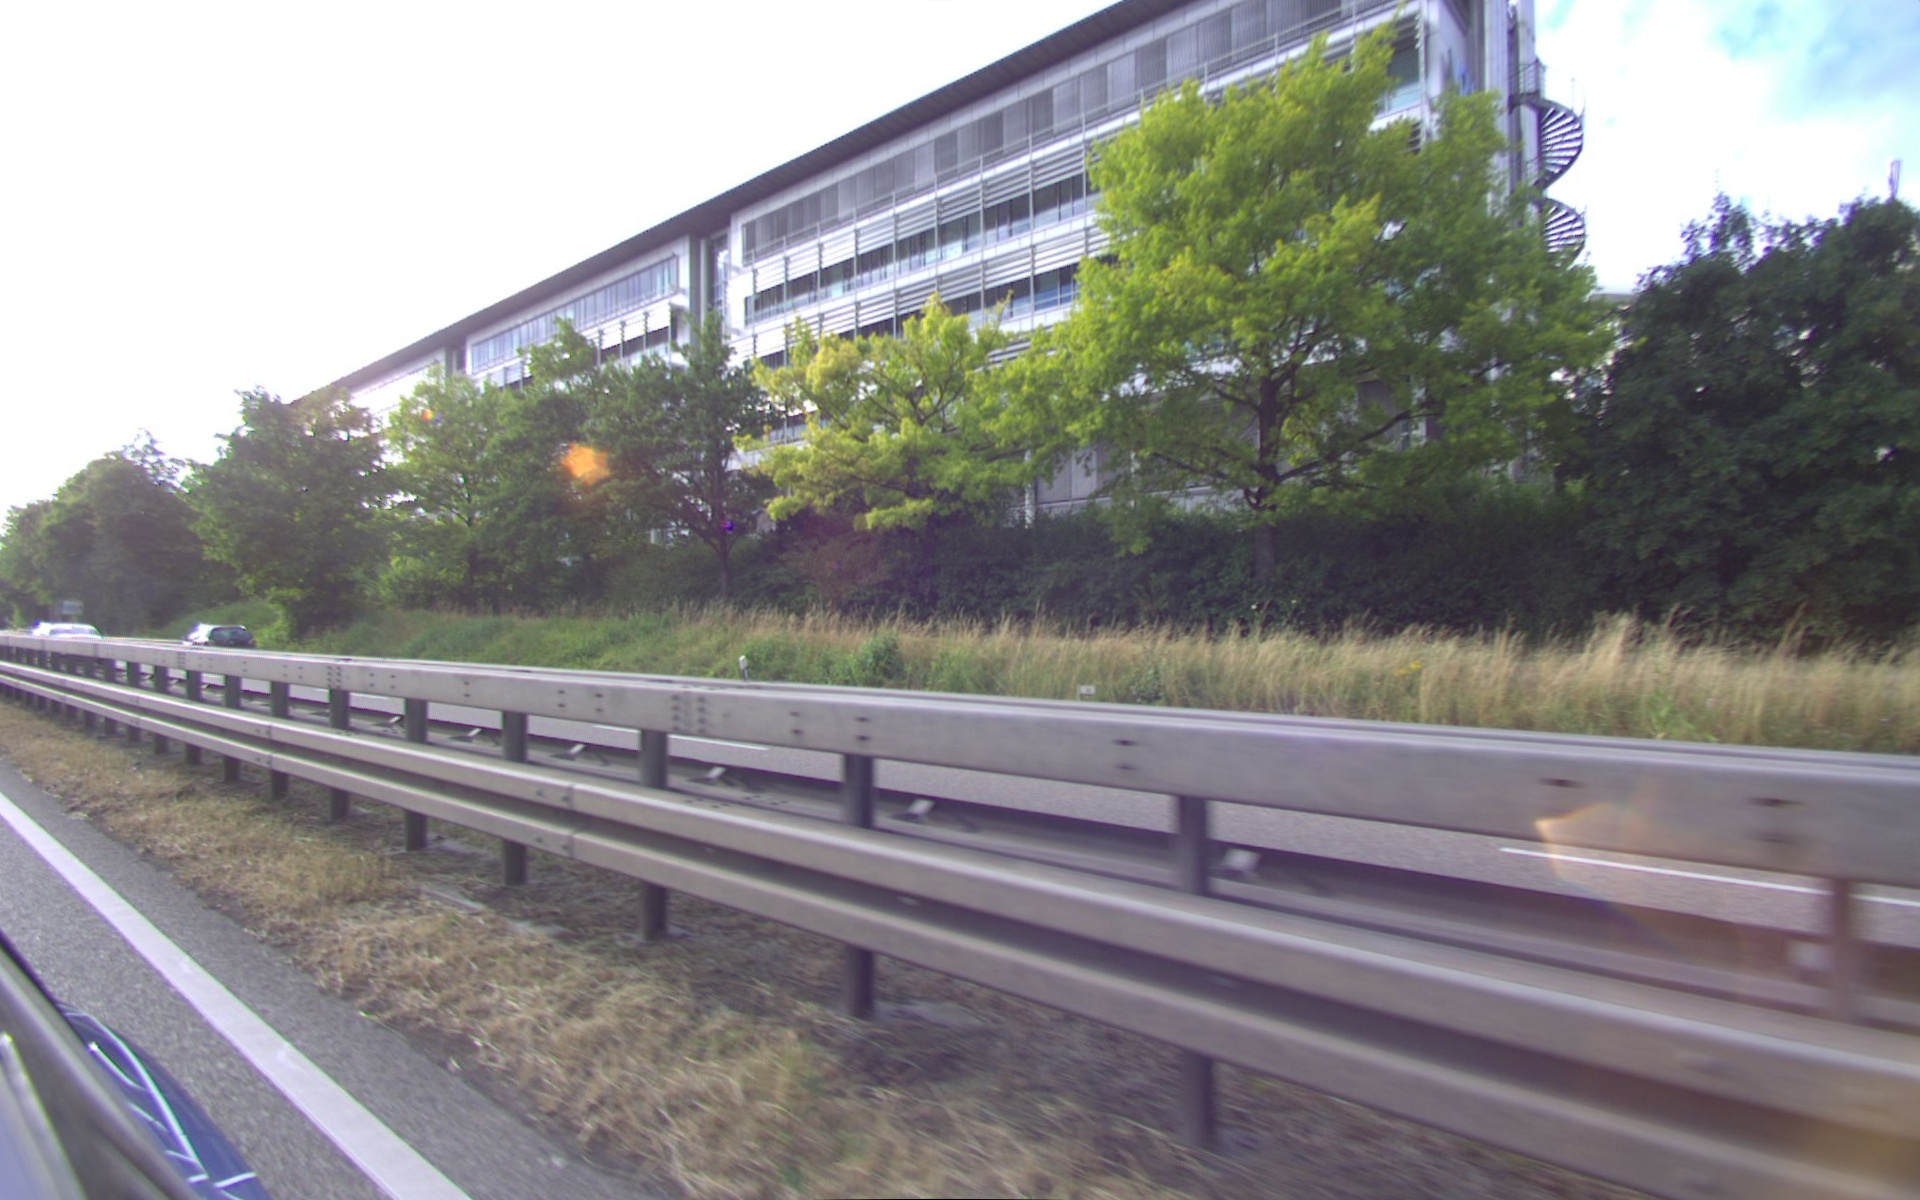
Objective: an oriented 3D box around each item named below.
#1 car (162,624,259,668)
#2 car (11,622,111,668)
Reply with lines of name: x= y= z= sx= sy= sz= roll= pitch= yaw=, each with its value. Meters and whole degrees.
car: x=-25.758 y=1.562 z=34.725 sx=4.564 sy=1.433 sz=1.738 roll=-2 pitch=-3 yaw=42
car: x=-29.286 y=1.434 z=32.922 sx=4.563 sy=1.389 sz=1.816 roll=-2 pitch=-2 yaw=40
